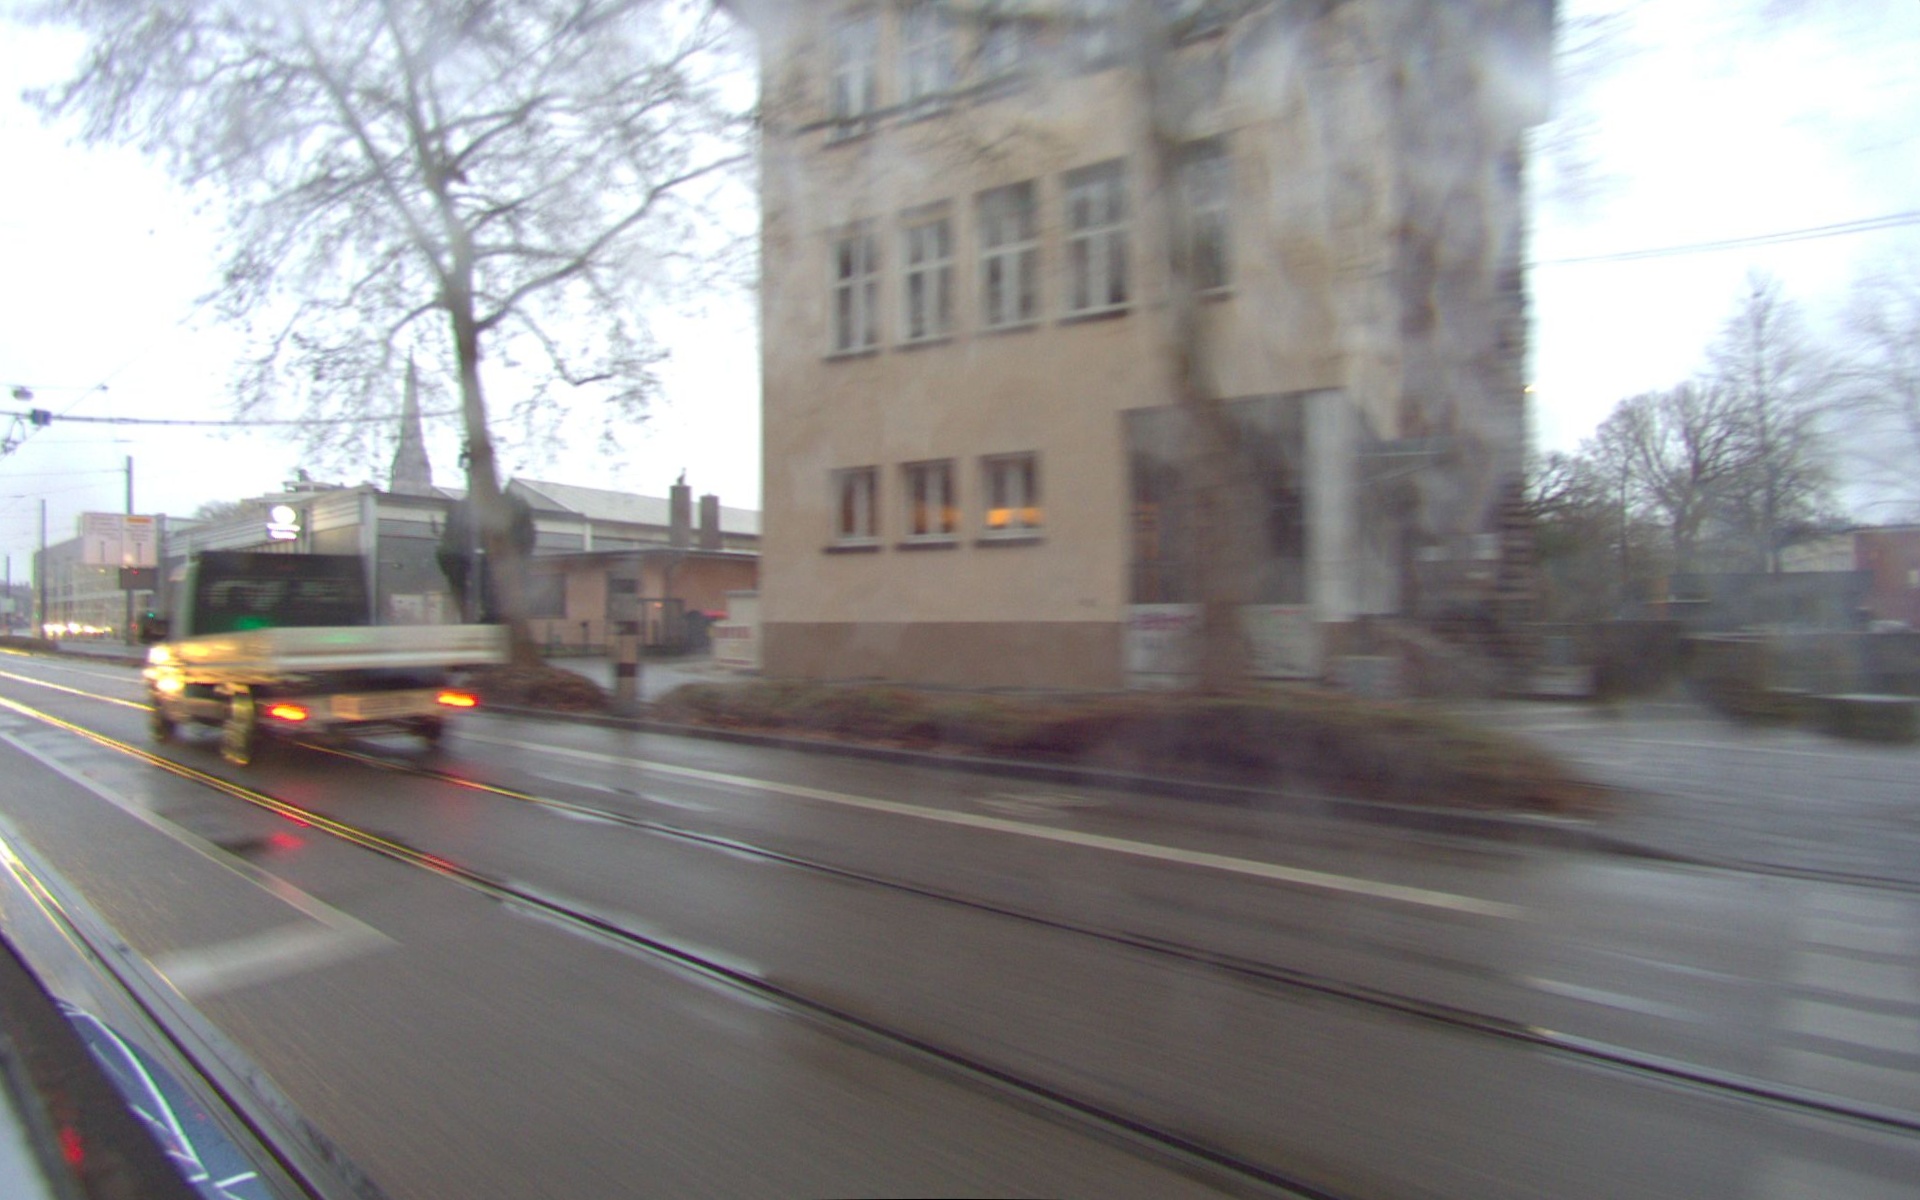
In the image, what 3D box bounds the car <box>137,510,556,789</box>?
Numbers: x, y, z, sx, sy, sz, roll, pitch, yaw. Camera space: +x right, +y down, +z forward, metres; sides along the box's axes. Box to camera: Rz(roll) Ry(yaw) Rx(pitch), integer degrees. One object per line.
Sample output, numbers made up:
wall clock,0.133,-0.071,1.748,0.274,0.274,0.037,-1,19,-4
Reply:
car,-7.130,0.461,11.426,5.842,2.365,2.421,-1,-1,42
